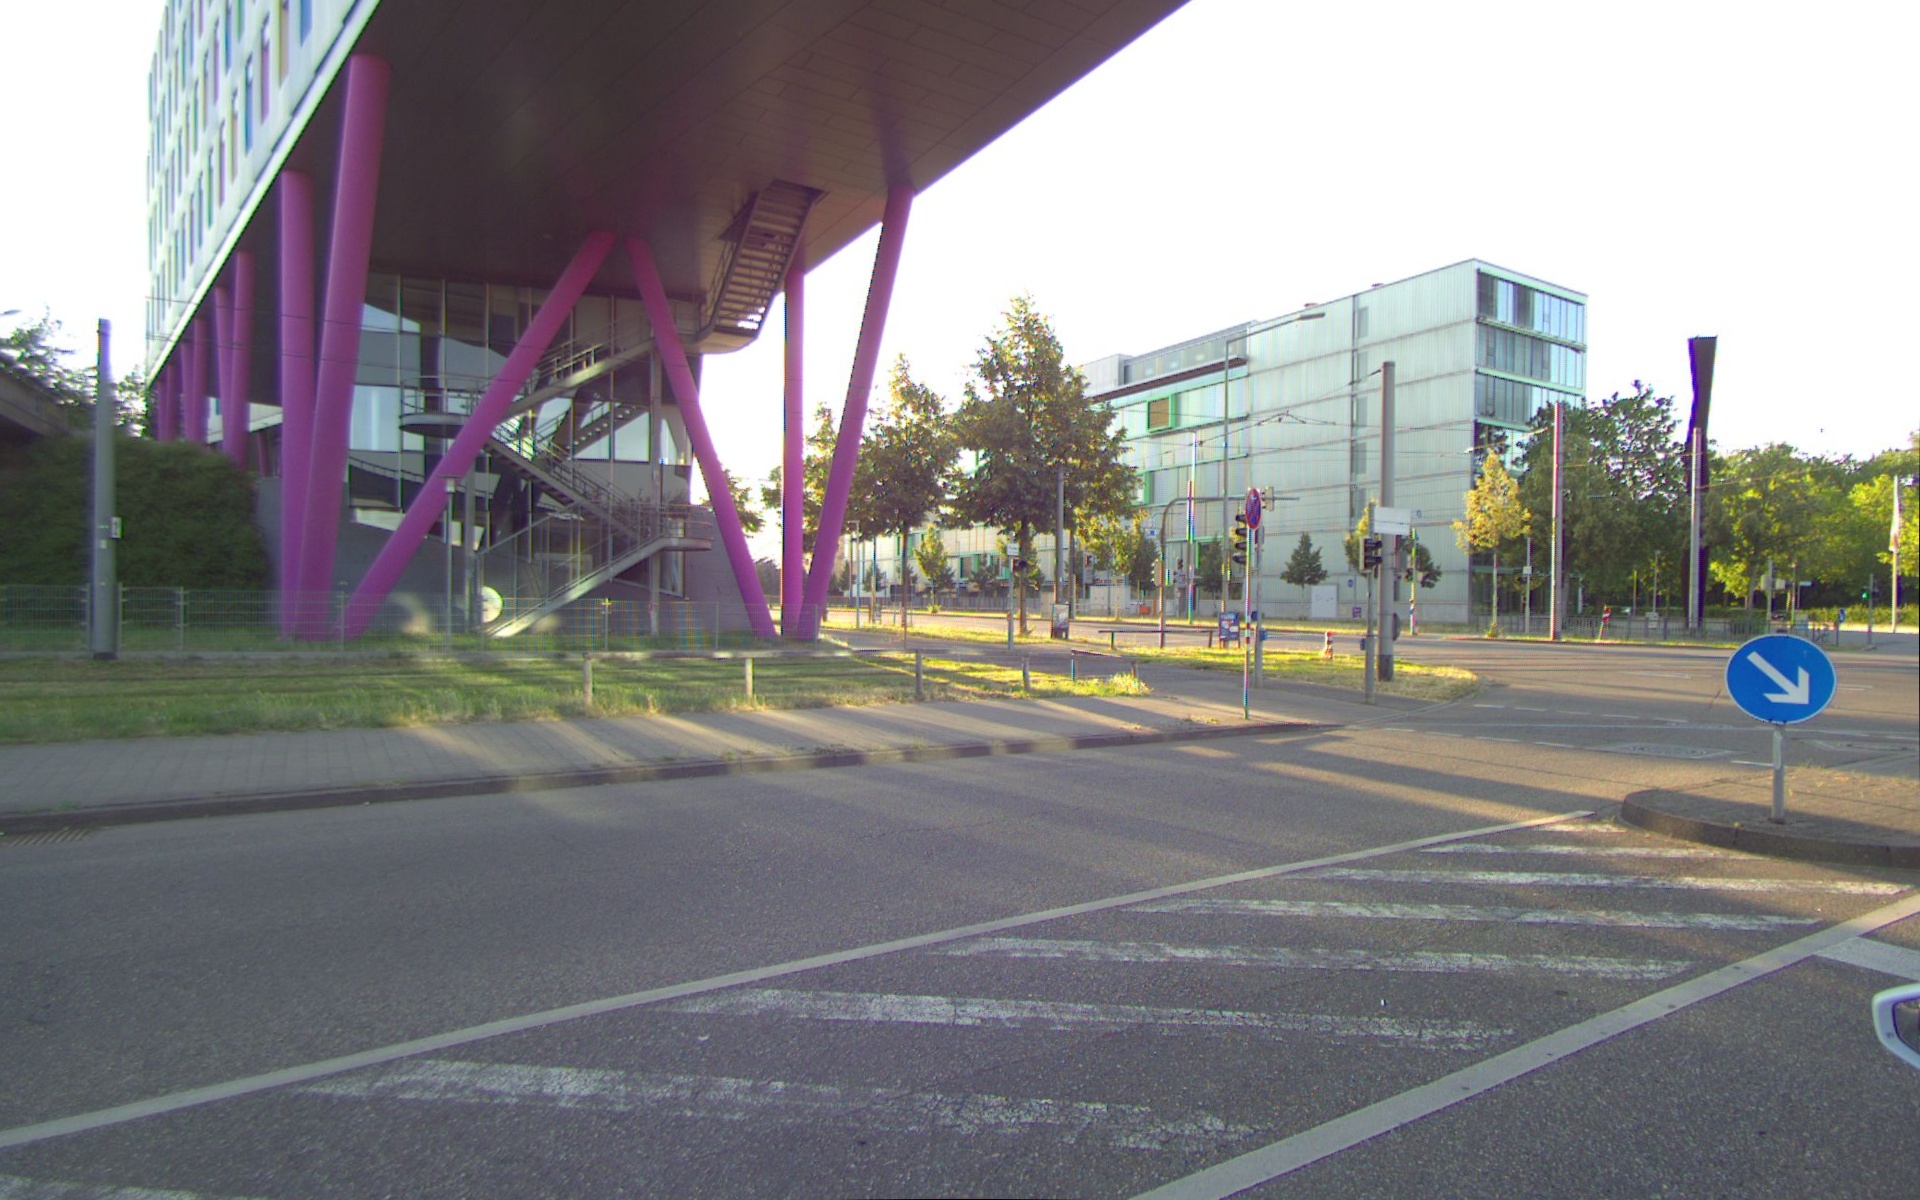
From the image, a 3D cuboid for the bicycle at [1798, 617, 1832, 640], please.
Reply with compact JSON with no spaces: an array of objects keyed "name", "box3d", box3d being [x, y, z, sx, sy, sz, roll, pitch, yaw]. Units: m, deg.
[{"name":"bicycle","box3d":[44.259,1.480,51.963,2.367,1.151,0.695,1,0,-33]}]
